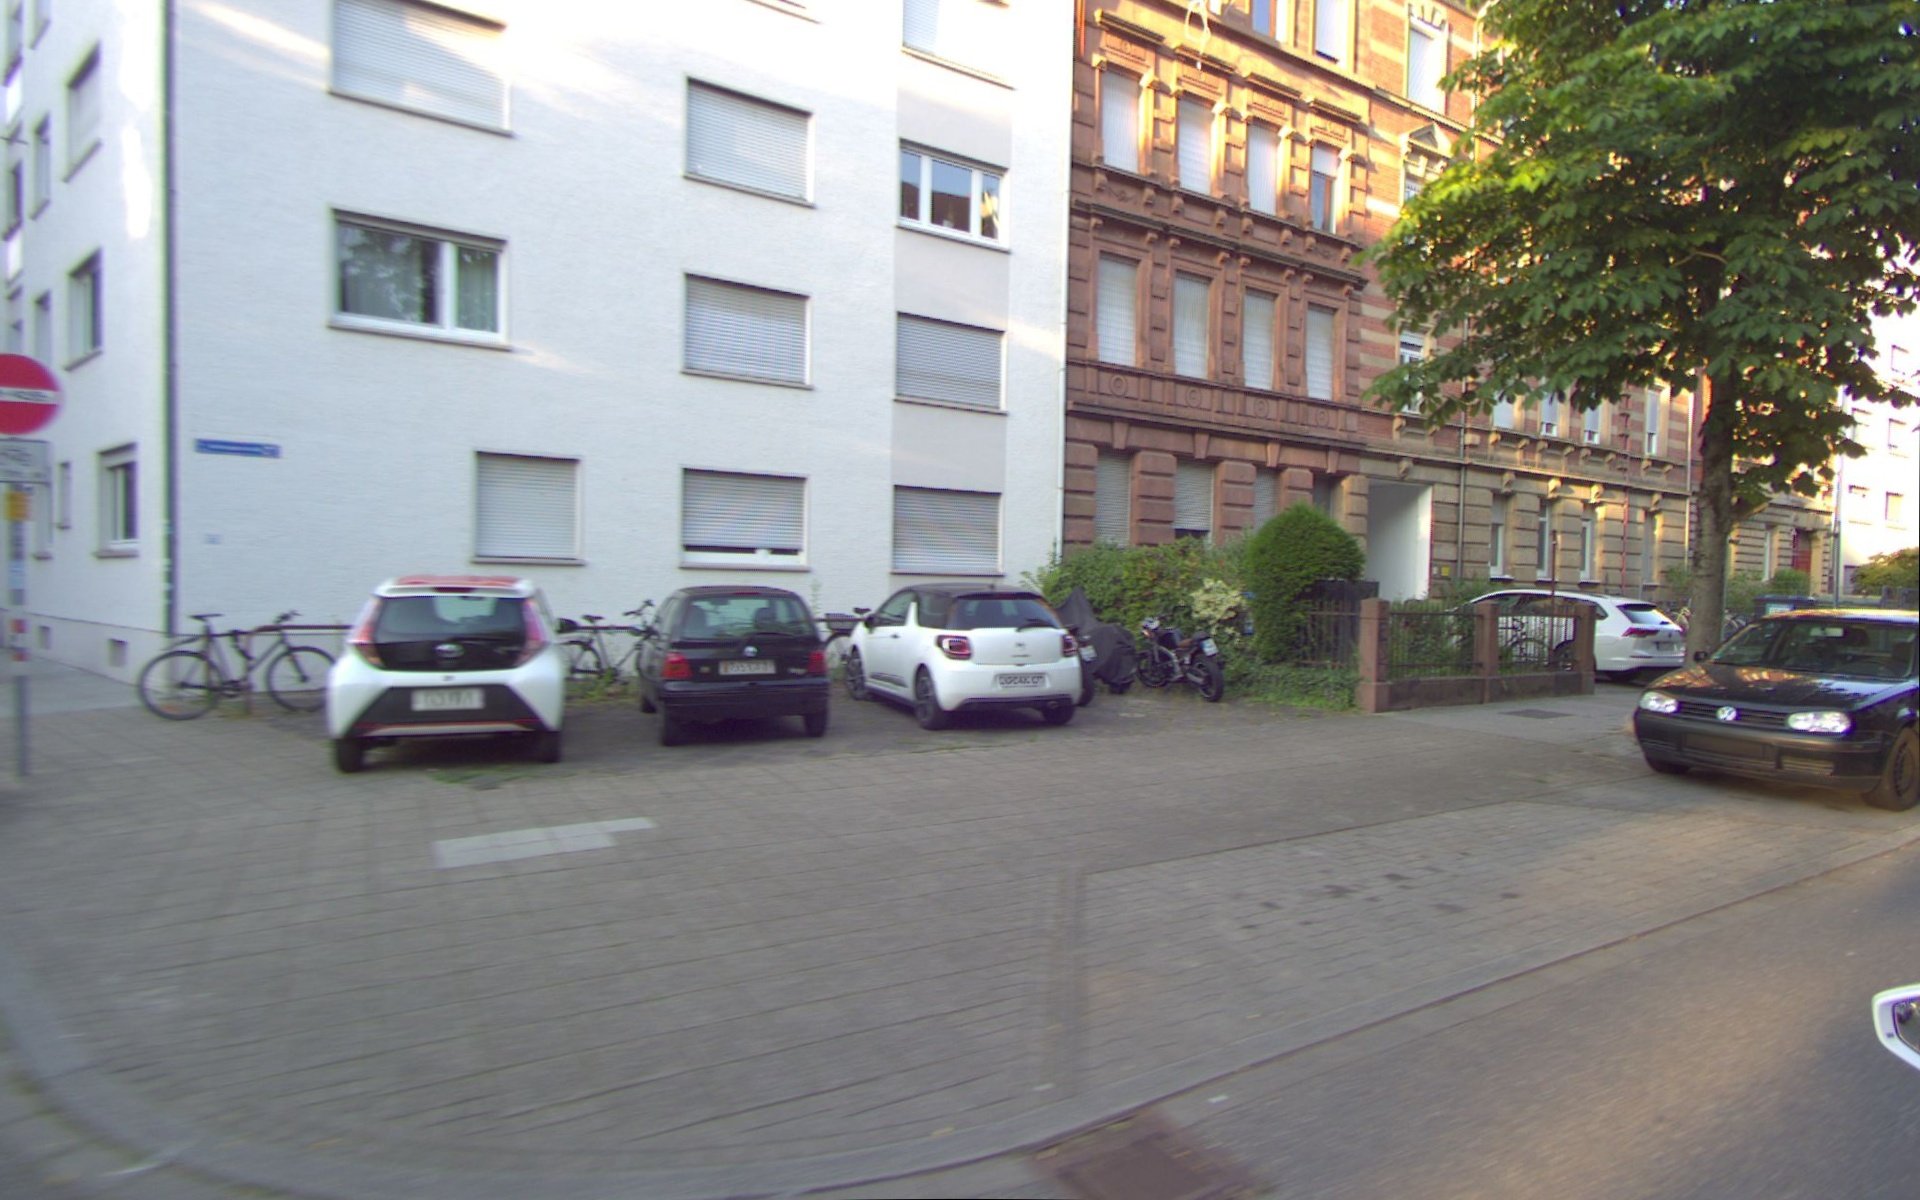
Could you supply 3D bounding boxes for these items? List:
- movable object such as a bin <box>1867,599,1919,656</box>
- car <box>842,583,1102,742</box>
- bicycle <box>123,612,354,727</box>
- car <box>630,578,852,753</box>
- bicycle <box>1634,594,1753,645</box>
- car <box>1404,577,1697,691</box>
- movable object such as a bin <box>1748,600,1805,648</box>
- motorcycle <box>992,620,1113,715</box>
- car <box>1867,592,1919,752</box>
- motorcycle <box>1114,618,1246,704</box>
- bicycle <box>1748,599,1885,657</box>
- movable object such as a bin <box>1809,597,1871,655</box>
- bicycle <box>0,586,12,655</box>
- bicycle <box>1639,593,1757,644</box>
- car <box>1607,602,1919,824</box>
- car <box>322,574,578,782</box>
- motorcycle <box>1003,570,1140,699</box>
[{"bbox_3d":[23.924,0.679,25.473,0.992,1.339,1.009,0,4,-26],"label":"movable object such as a bin"},{"bbox_3d":[-0.036,0.563,11.521,1.791,1.467,3.556,0,2,-22],"label":"car"},{"bbox_3d":[-7.217,0.665,10.151,1.856,1.077,0.394,0,1,-31],"label":"bicycle"},{"bbox_3d":[-2.522,0.516,10.776,1.790,1.467,4.086,0,2,-20],"label":"car"},{"bbox_3d":[20.192,0.503,27.720,0.638,1.208,2.506,-1,5,-41],"label":"bicycle"},{"bbox_3d":[10.230,0.490,17.733,1.690,1.548,4.070,0,4,-31],"label":"car"},{"bbox_3d":[22.699,0.642,27.930,0.998,1.226,1.085,-2,4,-44],"label":"movable object such as a bin"},{"bbox_3d":[1.115,0.806,12.733,0.578,0.971,2.231,1,2,-21],"label":"motorcycle"},{"bbox_3d":[11.541,0.755,10.981,3.706,1.625,1.585,0,2,-35],"label":"car"},{"bbox_3d":[2.890,0.774,13.488,0.578,0.971,2.231,1,1,-21],"label":"motorcycle"},{"bbox_3d":[21.341,0.665,25.110,0.634,1.208,2.521,0,4,-24],"label":"bicycle"},{"bbox_3d":[23.168,0.665,26.455,0.998,1.434,1.085,-2,5,-44],"label":"movable object such as a bin"},{"bbox_3d":[-17.815,0.355,18.455,1.850,1.223,0.395,2,1,41],"label":"bicycle"},{"bbox_3d":[20.577,0.495,28.069,0.638,1.208,2.506,-1,5,-41],"label":"bicycle"},{"bbox_3d":[7.474,0.786,8.563,3.912,1.490,1.609,0,1,-29],"label":"car"},{"bbox_3d":[-4.479,0.502,9.344,1.684,1.467,4.084,0,2,-21],"label":"car"},{"bbox_3d":[1.519,0.425,14.398,0.665,1.660,2.846,1,1,-22],"label":"motorcycle"}]
